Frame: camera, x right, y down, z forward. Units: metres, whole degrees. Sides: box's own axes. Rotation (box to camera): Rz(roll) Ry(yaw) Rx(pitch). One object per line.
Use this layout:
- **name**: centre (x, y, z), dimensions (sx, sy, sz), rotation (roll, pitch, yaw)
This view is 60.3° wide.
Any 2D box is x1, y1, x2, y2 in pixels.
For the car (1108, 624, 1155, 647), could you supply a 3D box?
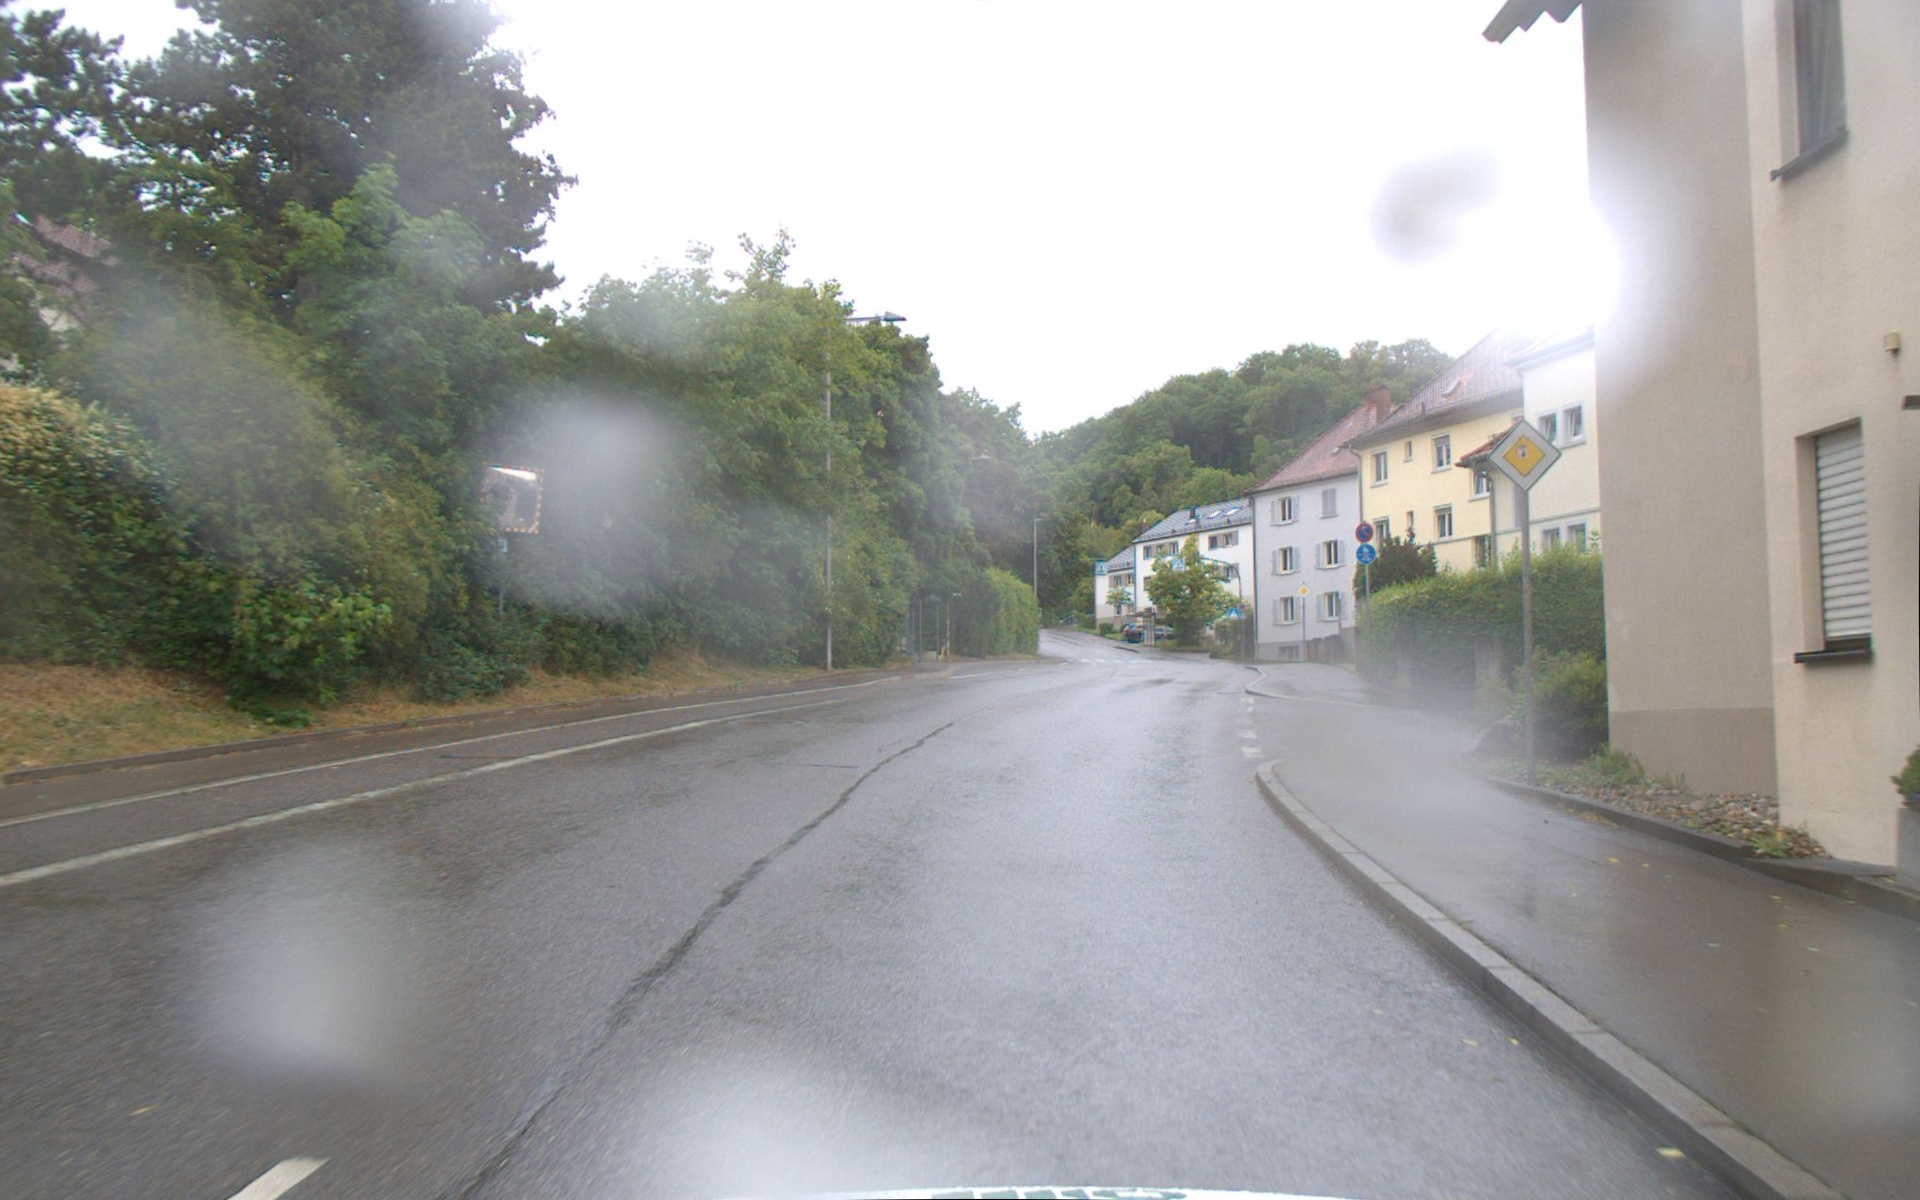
- **car**: centre (15.077, 3.133, 145.542), dimensions (3.906, 1.803, 1.999), rotation (3, -3, -1)

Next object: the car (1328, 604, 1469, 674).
- **car**: centre (14.170, 1.296, 53.530), dimensions (3.915, 2.049, 1.995), rotation (3, -3, -10)

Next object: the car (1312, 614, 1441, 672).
- **car**: centre (14.617, 1.538, 58.155), dimensions (3.915, 1.803, 1.995), rotation (3, -3, -10)

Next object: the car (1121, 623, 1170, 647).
- **car**: centre (15.813, 2.974, 141.237), dimensions (3.906, 1.803, 1.999), rotation (3, -3, -1)
